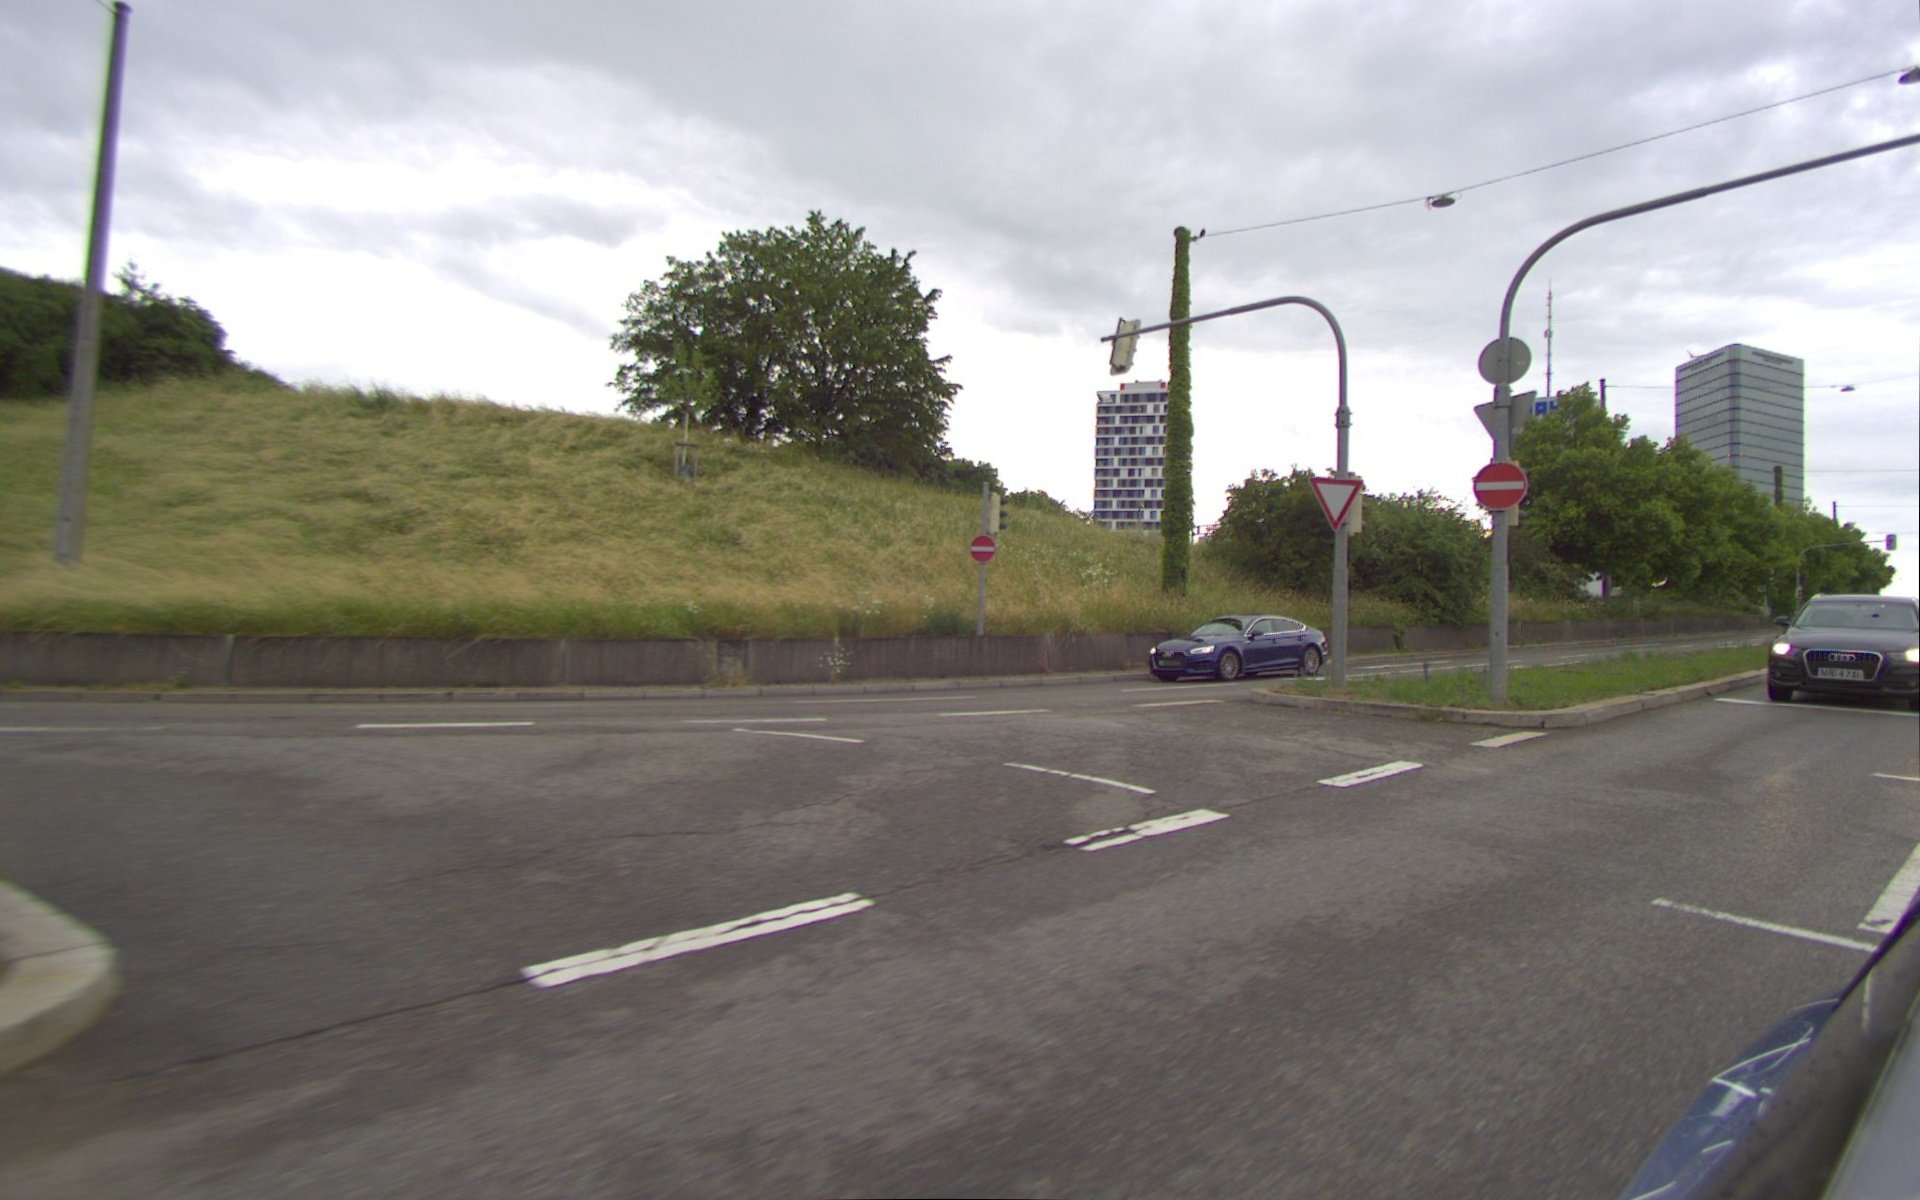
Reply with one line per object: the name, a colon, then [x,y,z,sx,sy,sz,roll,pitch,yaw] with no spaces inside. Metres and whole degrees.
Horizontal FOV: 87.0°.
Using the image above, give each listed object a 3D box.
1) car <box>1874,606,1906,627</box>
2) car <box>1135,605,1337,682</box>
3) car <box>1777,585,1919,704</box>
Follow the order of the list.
car: [72.516,1.280,78.959,1.629,1.495,3.622,0,-3,40]
car: [5.969,0.854,21.752,4.265,1.443,1.878,-1,0,-35]
car: [13.643,0.561,15.109,4.057,1.553,1.727,-1,0,-43]
